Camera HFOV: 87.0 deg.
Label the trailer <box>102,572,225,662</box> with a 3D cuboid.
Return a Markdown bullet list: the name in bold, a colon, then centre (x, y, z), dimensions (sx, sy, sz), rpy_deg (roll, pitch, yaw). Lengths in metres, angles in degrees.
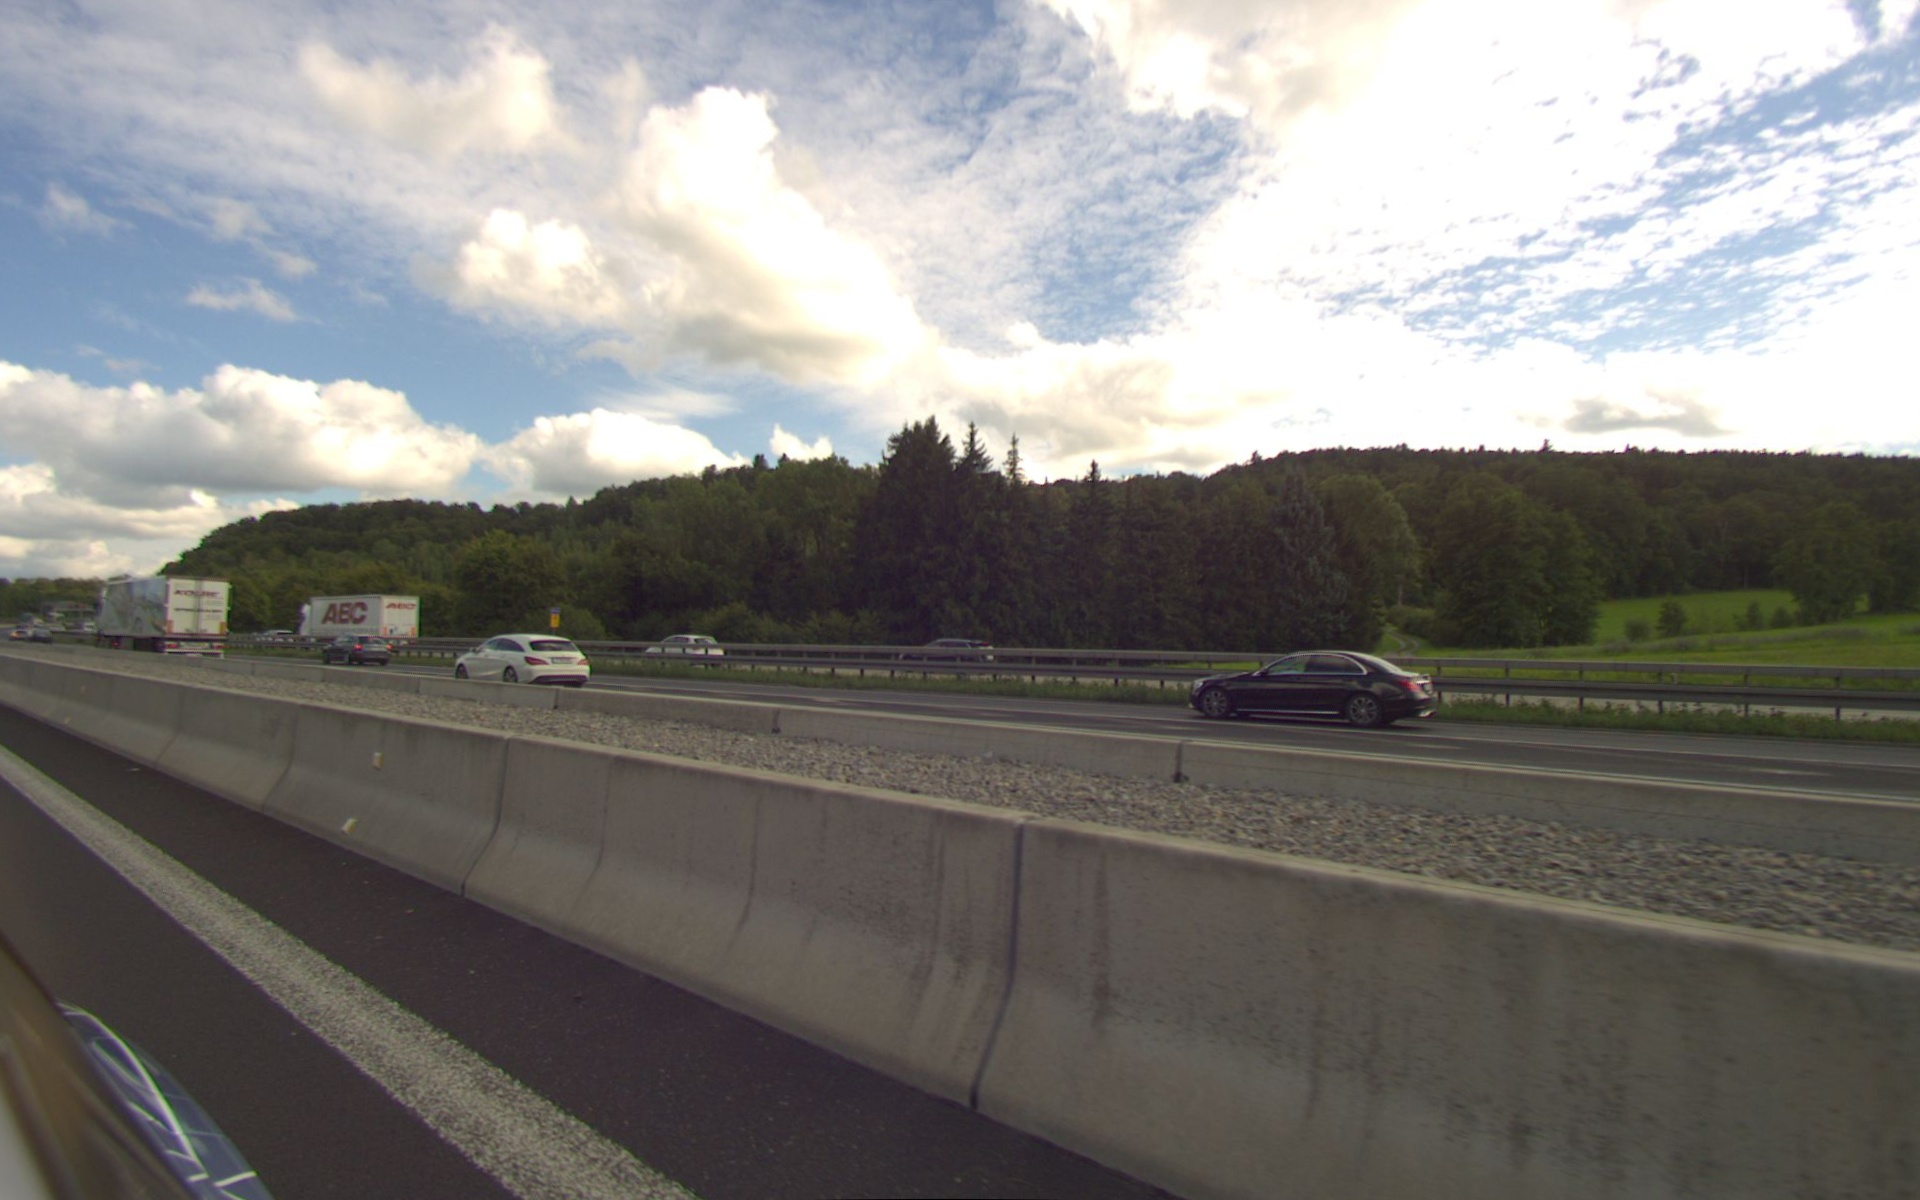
- **trailer**: centre (-41.175, 0.935, 52.058), dimensions (13.277, 4.160, 2.462), rpy_deg (-1, -3, 41)

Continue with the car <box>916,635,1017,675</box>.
- **car**: centre (0.255, 2.362, 44.091), dimensions (4.300, 1.630, 1.782), rpy_deg (-1, -3, 41)

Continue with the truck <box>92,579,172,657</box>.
- **truck**: centre (-46.380, 1.022, 56.660), dimensions (5.296, 4.160, 2.462), rpy_deg (-1, -3, 41)

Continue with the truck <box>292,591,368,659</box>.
- **truck**: centre (-49.790, 1.992, 79.918), dimensions (6.624, 5.181, 2.994), rpy_deg (-1, -3, 40)

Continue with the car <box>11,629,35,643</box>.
- **car**: centre (-112.656, 4.315, 121.673), dimensions (4.994, 1.506, 1.628), rpy_deg (-1, -3, 41)

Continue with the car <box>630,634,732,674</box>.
- **car**: centre (-12.162, 2.310, 43.998), dimensions (4.706, 1.630, 1.972), rpy_deg (-1, -3, 41)

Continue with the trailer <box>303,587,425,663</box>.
- **trailer**: centre (-44.705, 1.883, 75.535), dimensions (14.709, 5.200, 3.076), rpy_deg (-1, -3, 41)

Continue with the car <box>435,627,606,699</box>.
- **car**: centre (-11.145, 1.521, 25.497), dimensions (5.000, 1.630, 1.972), rpy_deg (-1, -3, 41)

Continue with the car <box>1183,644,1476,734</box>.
- **car**: centre (7.051, 1.638, 19.648), dimensions (4.998, 1.462, 1.973), rpy_deg (-1, -3, 40)

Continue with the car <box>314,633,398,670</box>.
- **car**: centre (-28.901, 2.426, 48.382), dimensions (5.000, 1.630, 1.972), rpy_deg (-1, -3, 41)

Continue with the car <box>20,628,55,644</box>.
- **car**: centre (-91.991, 3.614, 100.919), dimensions (5.304, 1.506, 1.922), rpy_deg (-1, -3, 41)

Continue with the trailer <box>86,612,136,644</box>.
- **trailer**: centre (-117.163, 3.872, 139.582), dimensions (13.380, 4.125, 3.118), rpy_deg (-1, -3, 41)
